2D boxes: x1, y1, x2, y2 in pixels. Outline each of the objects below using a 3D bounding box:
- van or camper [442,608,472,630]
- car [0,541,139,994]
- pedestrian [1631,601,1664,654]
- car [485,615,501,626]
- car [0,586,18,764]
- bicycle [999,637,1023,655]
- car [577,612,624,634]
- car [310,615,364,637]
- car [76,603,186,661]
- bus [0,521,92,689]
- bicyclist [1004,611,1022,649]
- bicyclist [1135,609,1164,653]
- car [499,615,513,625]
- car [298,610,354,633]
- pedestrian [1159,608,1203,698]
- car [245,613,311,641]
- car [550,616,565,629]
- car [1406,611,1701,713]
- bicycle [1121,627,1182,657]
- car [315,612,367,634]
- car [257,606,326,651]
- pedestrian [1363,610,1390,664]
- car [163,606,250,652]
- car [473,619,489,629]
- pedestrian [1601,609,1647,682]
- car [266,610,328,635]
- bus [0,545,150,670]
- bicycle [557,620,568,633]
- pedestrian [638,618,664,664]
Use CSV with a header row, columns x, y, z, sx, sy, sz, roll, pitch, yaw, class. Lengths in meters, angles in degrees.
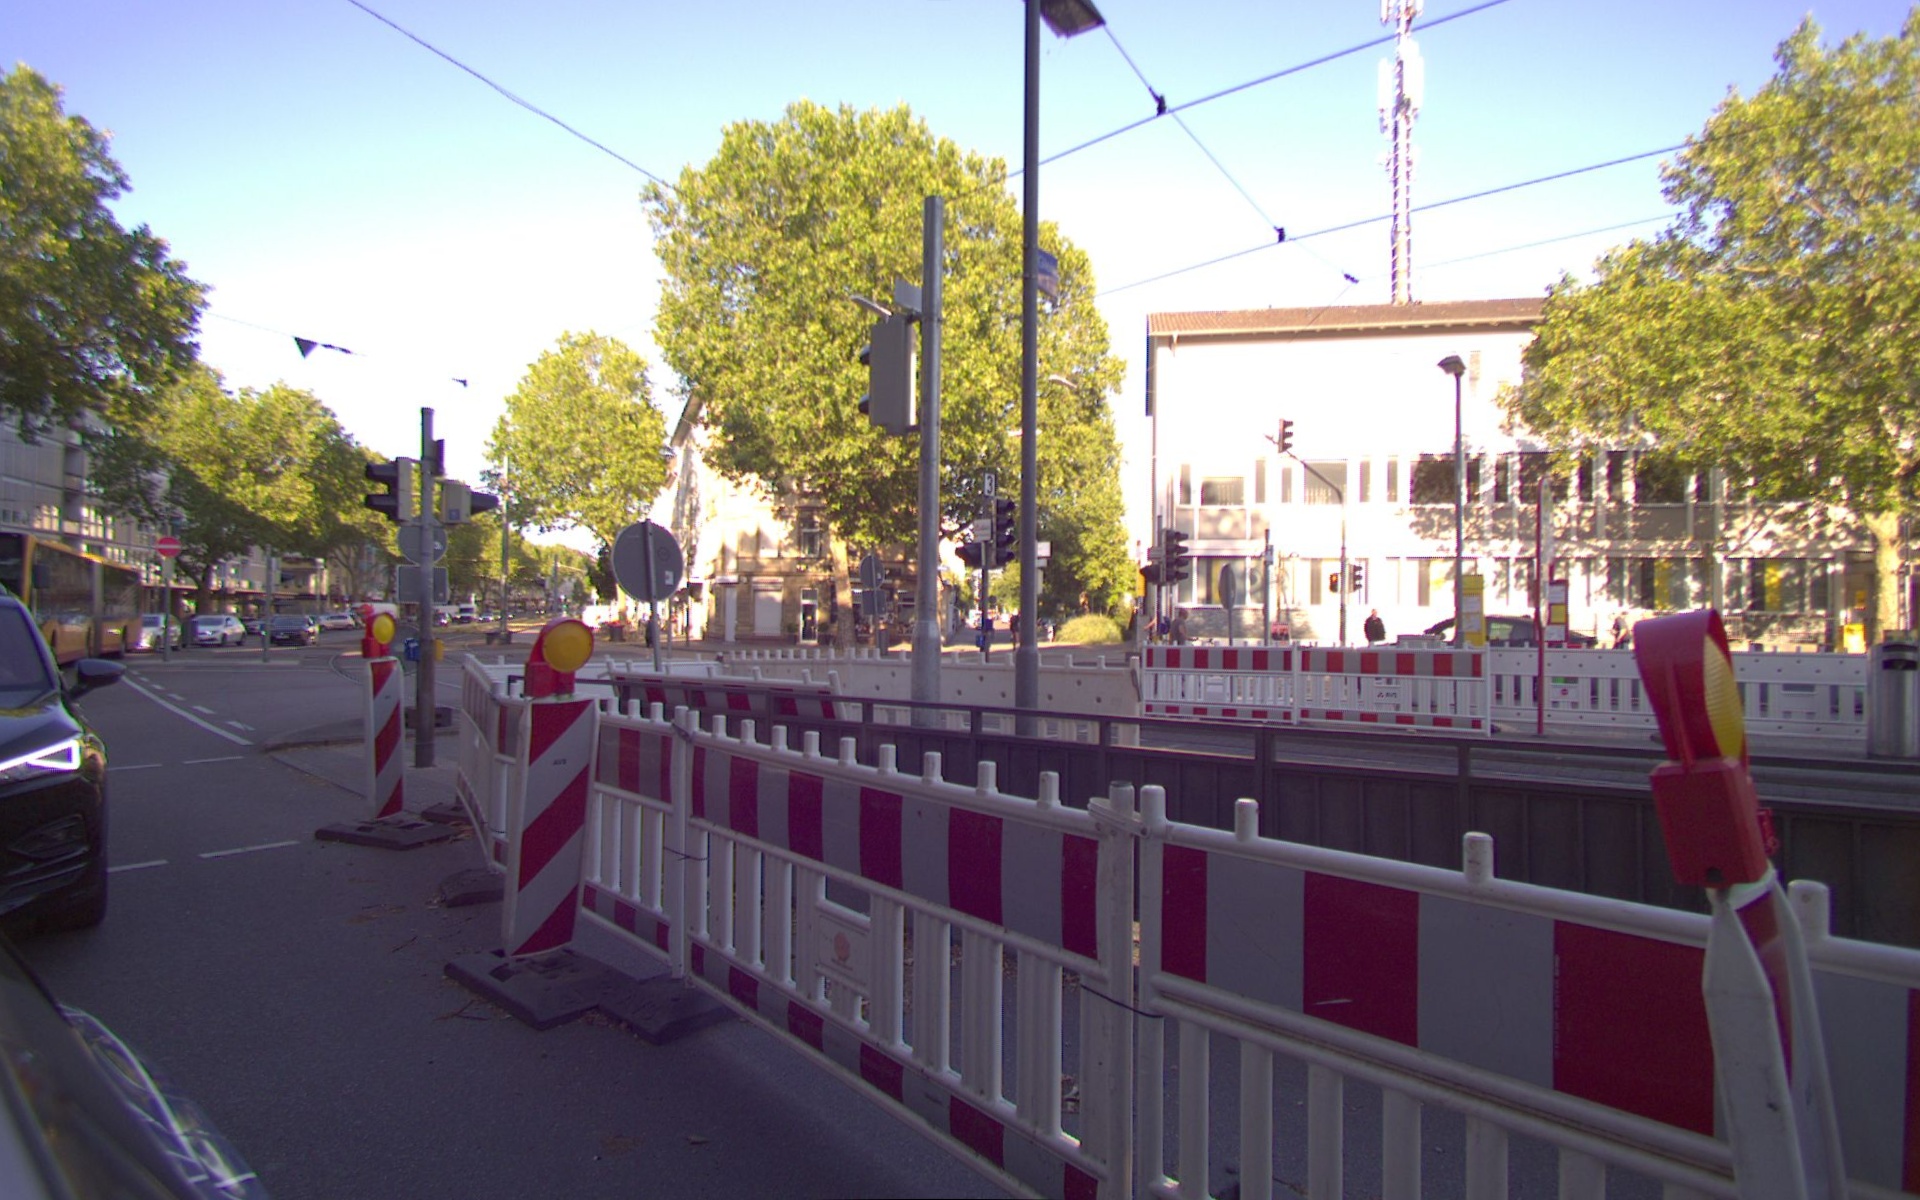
x,y,z,sx,sy,sz,roll,pitch,yaw,class
-62.629,2.393,126.013,2.385,2.739,6.151,1,-1,-18,van or camper
-5.485,0.647,4.789,3.998,1.719,1.818,-1,-2,41,car
19.518,0.775,28.747,0.579,1.466,0.584,0,-1,11,pedestrian
-74.286,3.253,161.079,1.809,1.816,4.143,1,-2,-19,car
-11.006,0.697,10.067,4.073,1.656,1.973,-1,-2,41,car
2.347,2.093,46.331,0.676,0.788,1.979,0,-1,17,bicycle
-34.432,2.193,97.020,1.990,2.029,3.963,0,-2,27,car
-58.121,2.399,94.467,3.938,2.029,2.002,1,-2,-42,car
-30.862,1.174,37.840,1.965,2.029,4.111,1,-1,-21,car
-21.073,0.148,21.972,2.678,3.130,8.641,1,-2,-36,bus
2.421,1.373,46.588,0.668,1.741,0.761,0,-2,17,bicyclist
6.838,1.114,36.528,0.846,1.538,0.567,-1,-2,45,bicyclist
-81.931,3.592,182.590,1.809,1.816,4.143,1,-2,-19,car
-56.020,1.916,89.453,3.938,2.029,2.002,1,-2,-42,car
4.408,1.053,20.210,0.545,1.760,0.693,1,-2,-24,pedestrian
-50.525,2.026,75.087,3.932,2.029,2.006,1,-2,-31,car
-61.368,3.444,154.393,1.965,2.029,4.013,1,-1,-20,car
10.988,1.062,18.894,4.552,1.674,1.974,-1,-2,38,car
6.889,1.508,36.457,0.668,1.039,2.191,2,-2,-45,bicycle
-60.237,2.244,98.521,3.938,2.029,2.002,1,-2,-42,car
-31.654,1.352,48.057,1.965,2.029,4.013,1,-1,-22,car
12.122,1.072,29.446,0.649,1.564,0.563,-1,-2,28,pedestrian
-34.829,1.326,46.894,1.966,2.029,4.012,1,-1,-17,car
-68.375,3.425,144.574,1.675,1.481,3.776,1,-2,-19,car
17.168,1.171,26.182,0.923,1.847,0.693,-1,-2,28,pedestrian
-54.105,1.841,82.613,3.938,2.029,2.002,1,-2,-42,car
-25.929,0.269,29.256,2.676,3.130,8.622,1,-2,-31,bus
-35.638,2.372,90.672,0.837,1.202,2.474,1,-1,-22,bicycle
-10.650,1.405,34.865,0.594,1.545,0.746,1,-2,-38,pedestrian
